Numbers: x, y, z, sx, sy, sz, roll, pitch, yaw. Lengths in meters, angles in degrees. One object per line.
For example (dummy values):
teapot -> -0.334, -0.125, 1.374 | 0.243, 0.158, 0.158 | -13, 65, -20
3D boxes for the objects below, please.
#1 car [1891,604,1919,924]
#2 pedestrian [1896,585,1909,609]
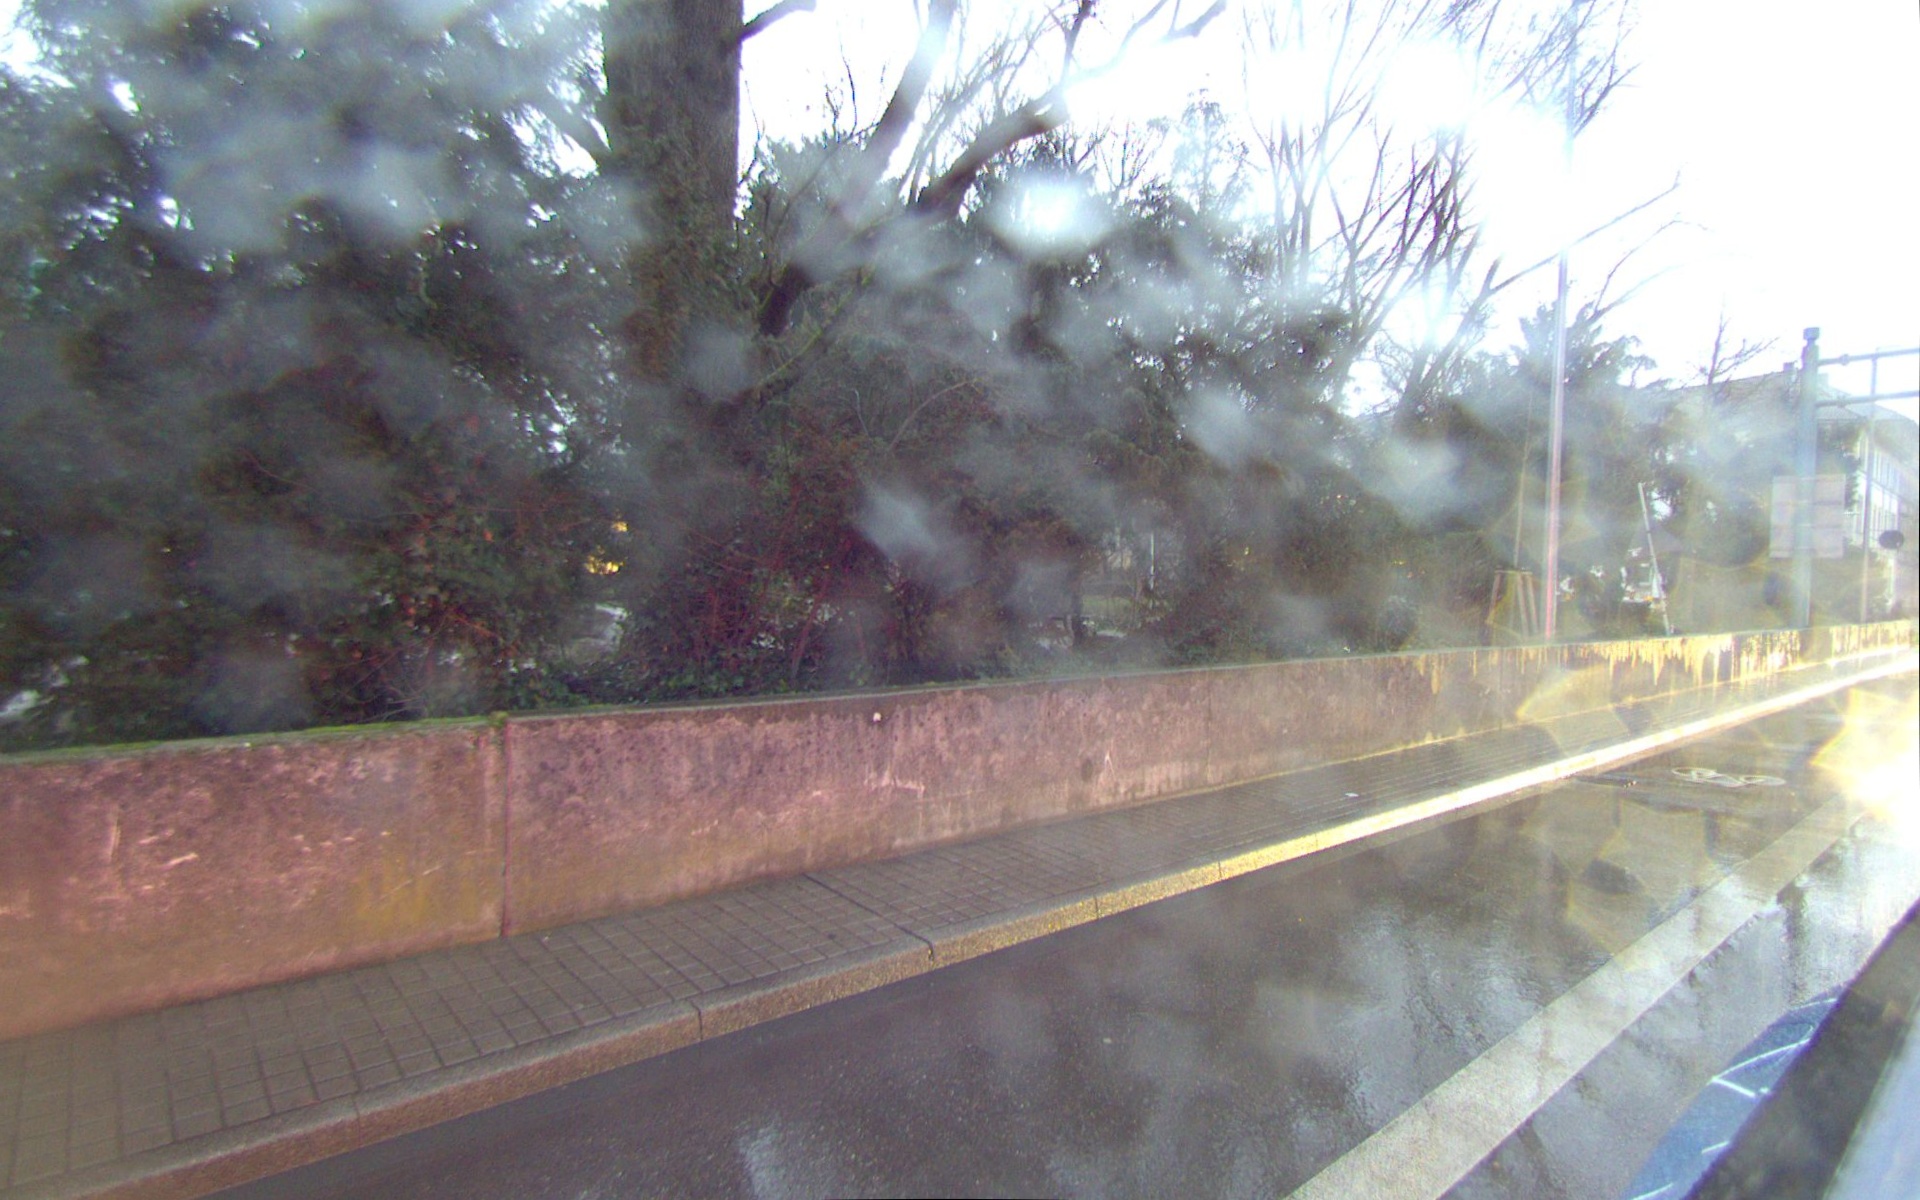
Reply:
car -> 6.181, 0.721, 5.118 | 3.913, 1.388, 1.796 | 0, 1, -42
pedestrian -> 62.279, -0.192, 66.892 | 0.577, 1.529, 0.520 | 1, 2, -41
